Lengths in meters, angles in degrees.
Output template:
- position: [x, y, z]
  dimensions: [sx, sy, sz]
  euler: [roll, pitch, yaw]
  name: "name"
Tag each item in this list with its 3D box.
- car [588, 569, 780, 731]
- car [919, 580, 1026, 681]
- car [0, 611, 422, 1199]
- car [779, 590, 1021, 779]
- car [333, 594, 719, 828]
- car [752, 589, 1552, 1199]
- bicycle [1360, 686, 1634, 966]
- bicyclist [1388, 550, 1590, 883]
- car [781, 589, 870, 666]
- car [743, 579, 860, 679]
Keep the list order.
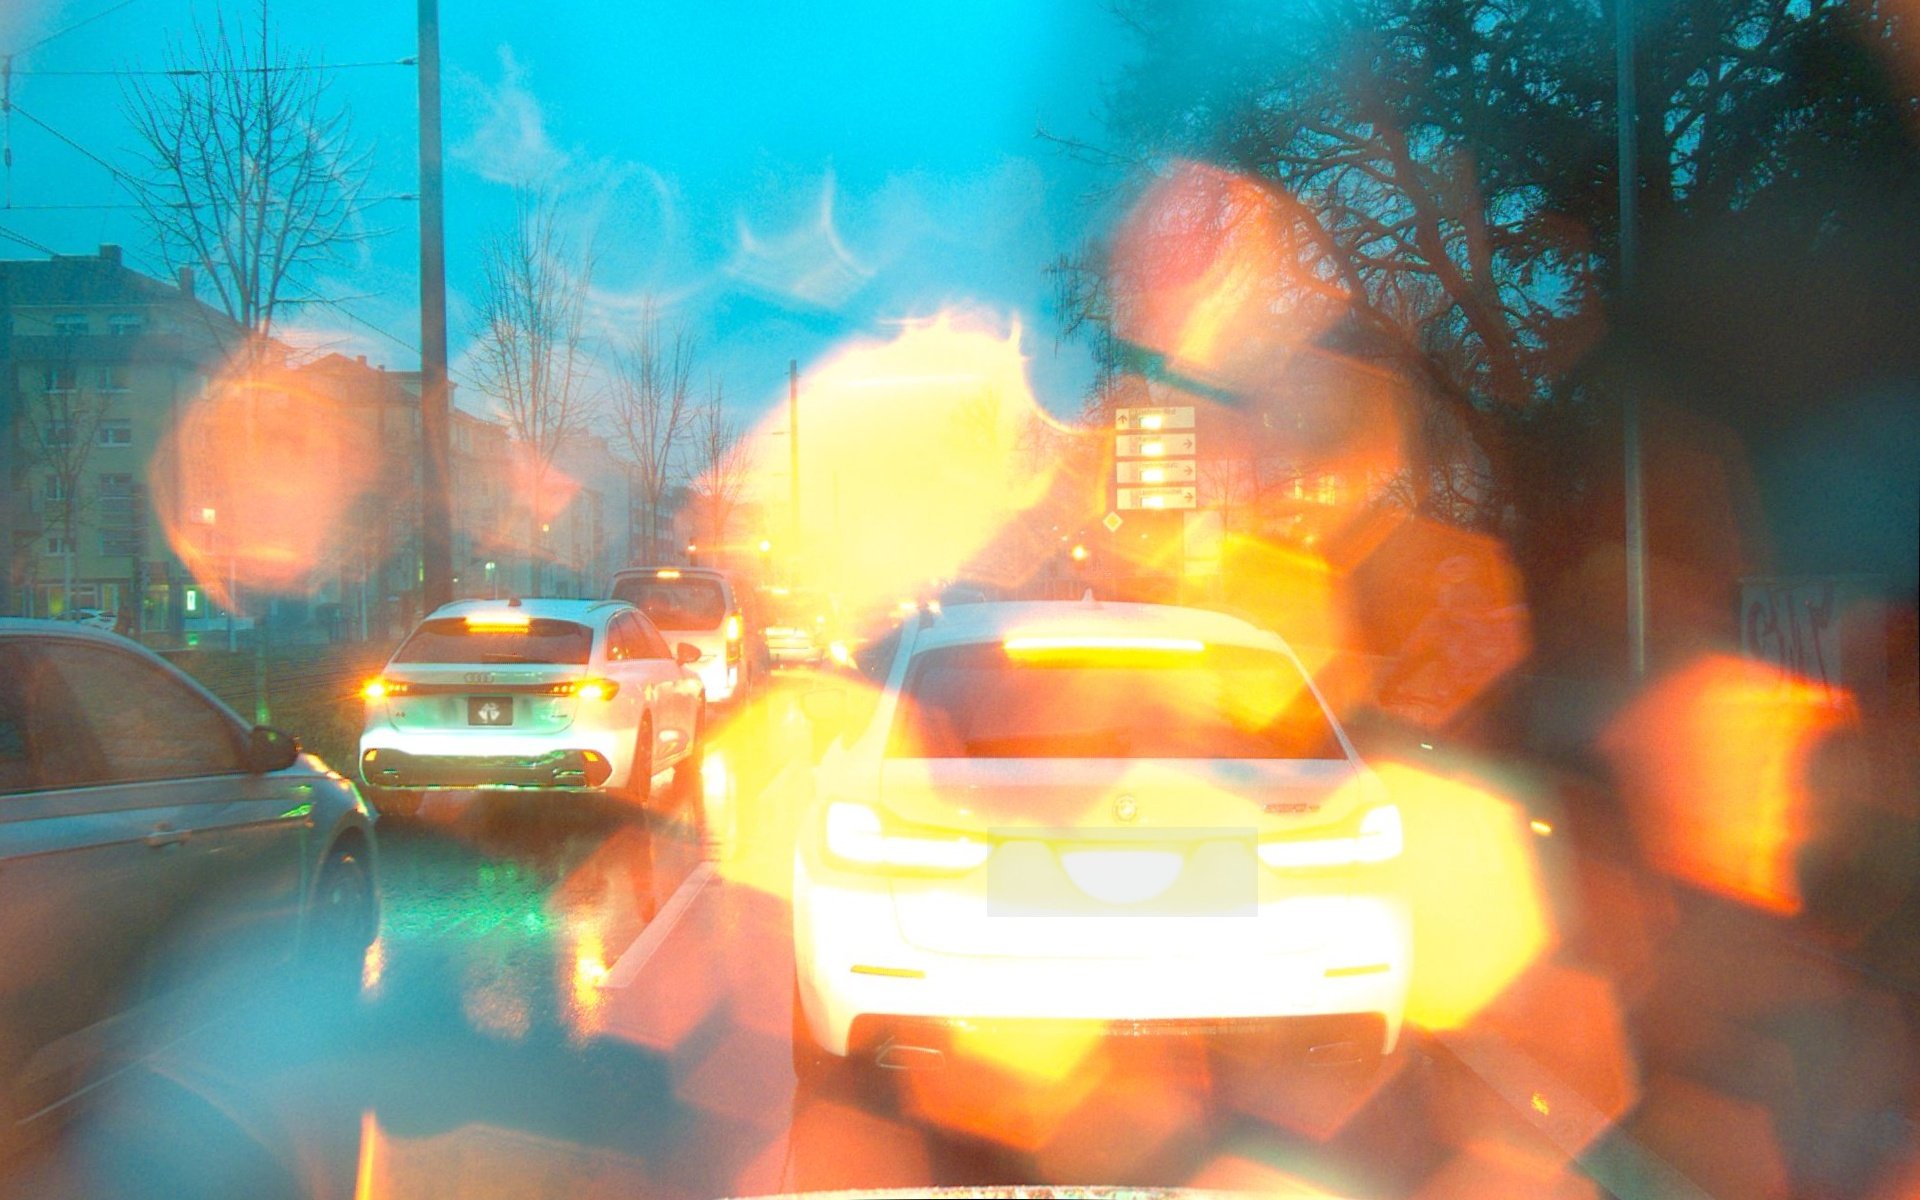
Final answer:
- position: [-3.266, 0.552, 20.386]
  dimensions: [1.757, 1.766, 4.535]
  euler: [0, 0, -2]
  name: "car"
- position: [0.180, 0.491, 29.298]
  dimensions: [1.770, 1.674, 3.999]
  euler: [0, 0, -1]
  name: "car"
- position: [-2.883, 0.744, 4.366]
  dimensions: [1.727, 1.395, 3.980]
  euler: [0, 0, -2]
  name: "car"
- position: [-0.501, 0.651, 15.096]
  dimensions: [1.896, 1.483, 4.162]
  euler: [0, 0, -1]
  name: "car"
- position: [-2.992, 0.684, 12.443]
  dimensions: [1.809, 1.430, 4.612]
  euler: [0, 0, -2]
  name: "car"
- position: [0.446, 0.729, 6.126]
  dimensions: [1.958, 1.534, 4.162]
  euler: [0, 0, -1]
  name: "car"
- position: [2.385, 0.955, 7.610]
  dimensions: [0.632, 0.983, 2.047]
  euler: [-1, 0, 1]
  name: "bicycle"
- position: [2.377, 0.495, 7.522]
  dimensions: [0.632, 1.413, 0.890]
  euler: [-1, 0, 1]
  name: "bicyclist"
- position: [-3.043, 0.591, 38.149]
  dimensions: [1.770, 1.674, 3.999]
  euler: [0, 0, -1]
  name: "car"
- position: [-2.780, 0.471, 29.785]
  dimensions: [1.770, 1.674, 3.999]
  euler: [0, 0, -1]
  name: "car"
